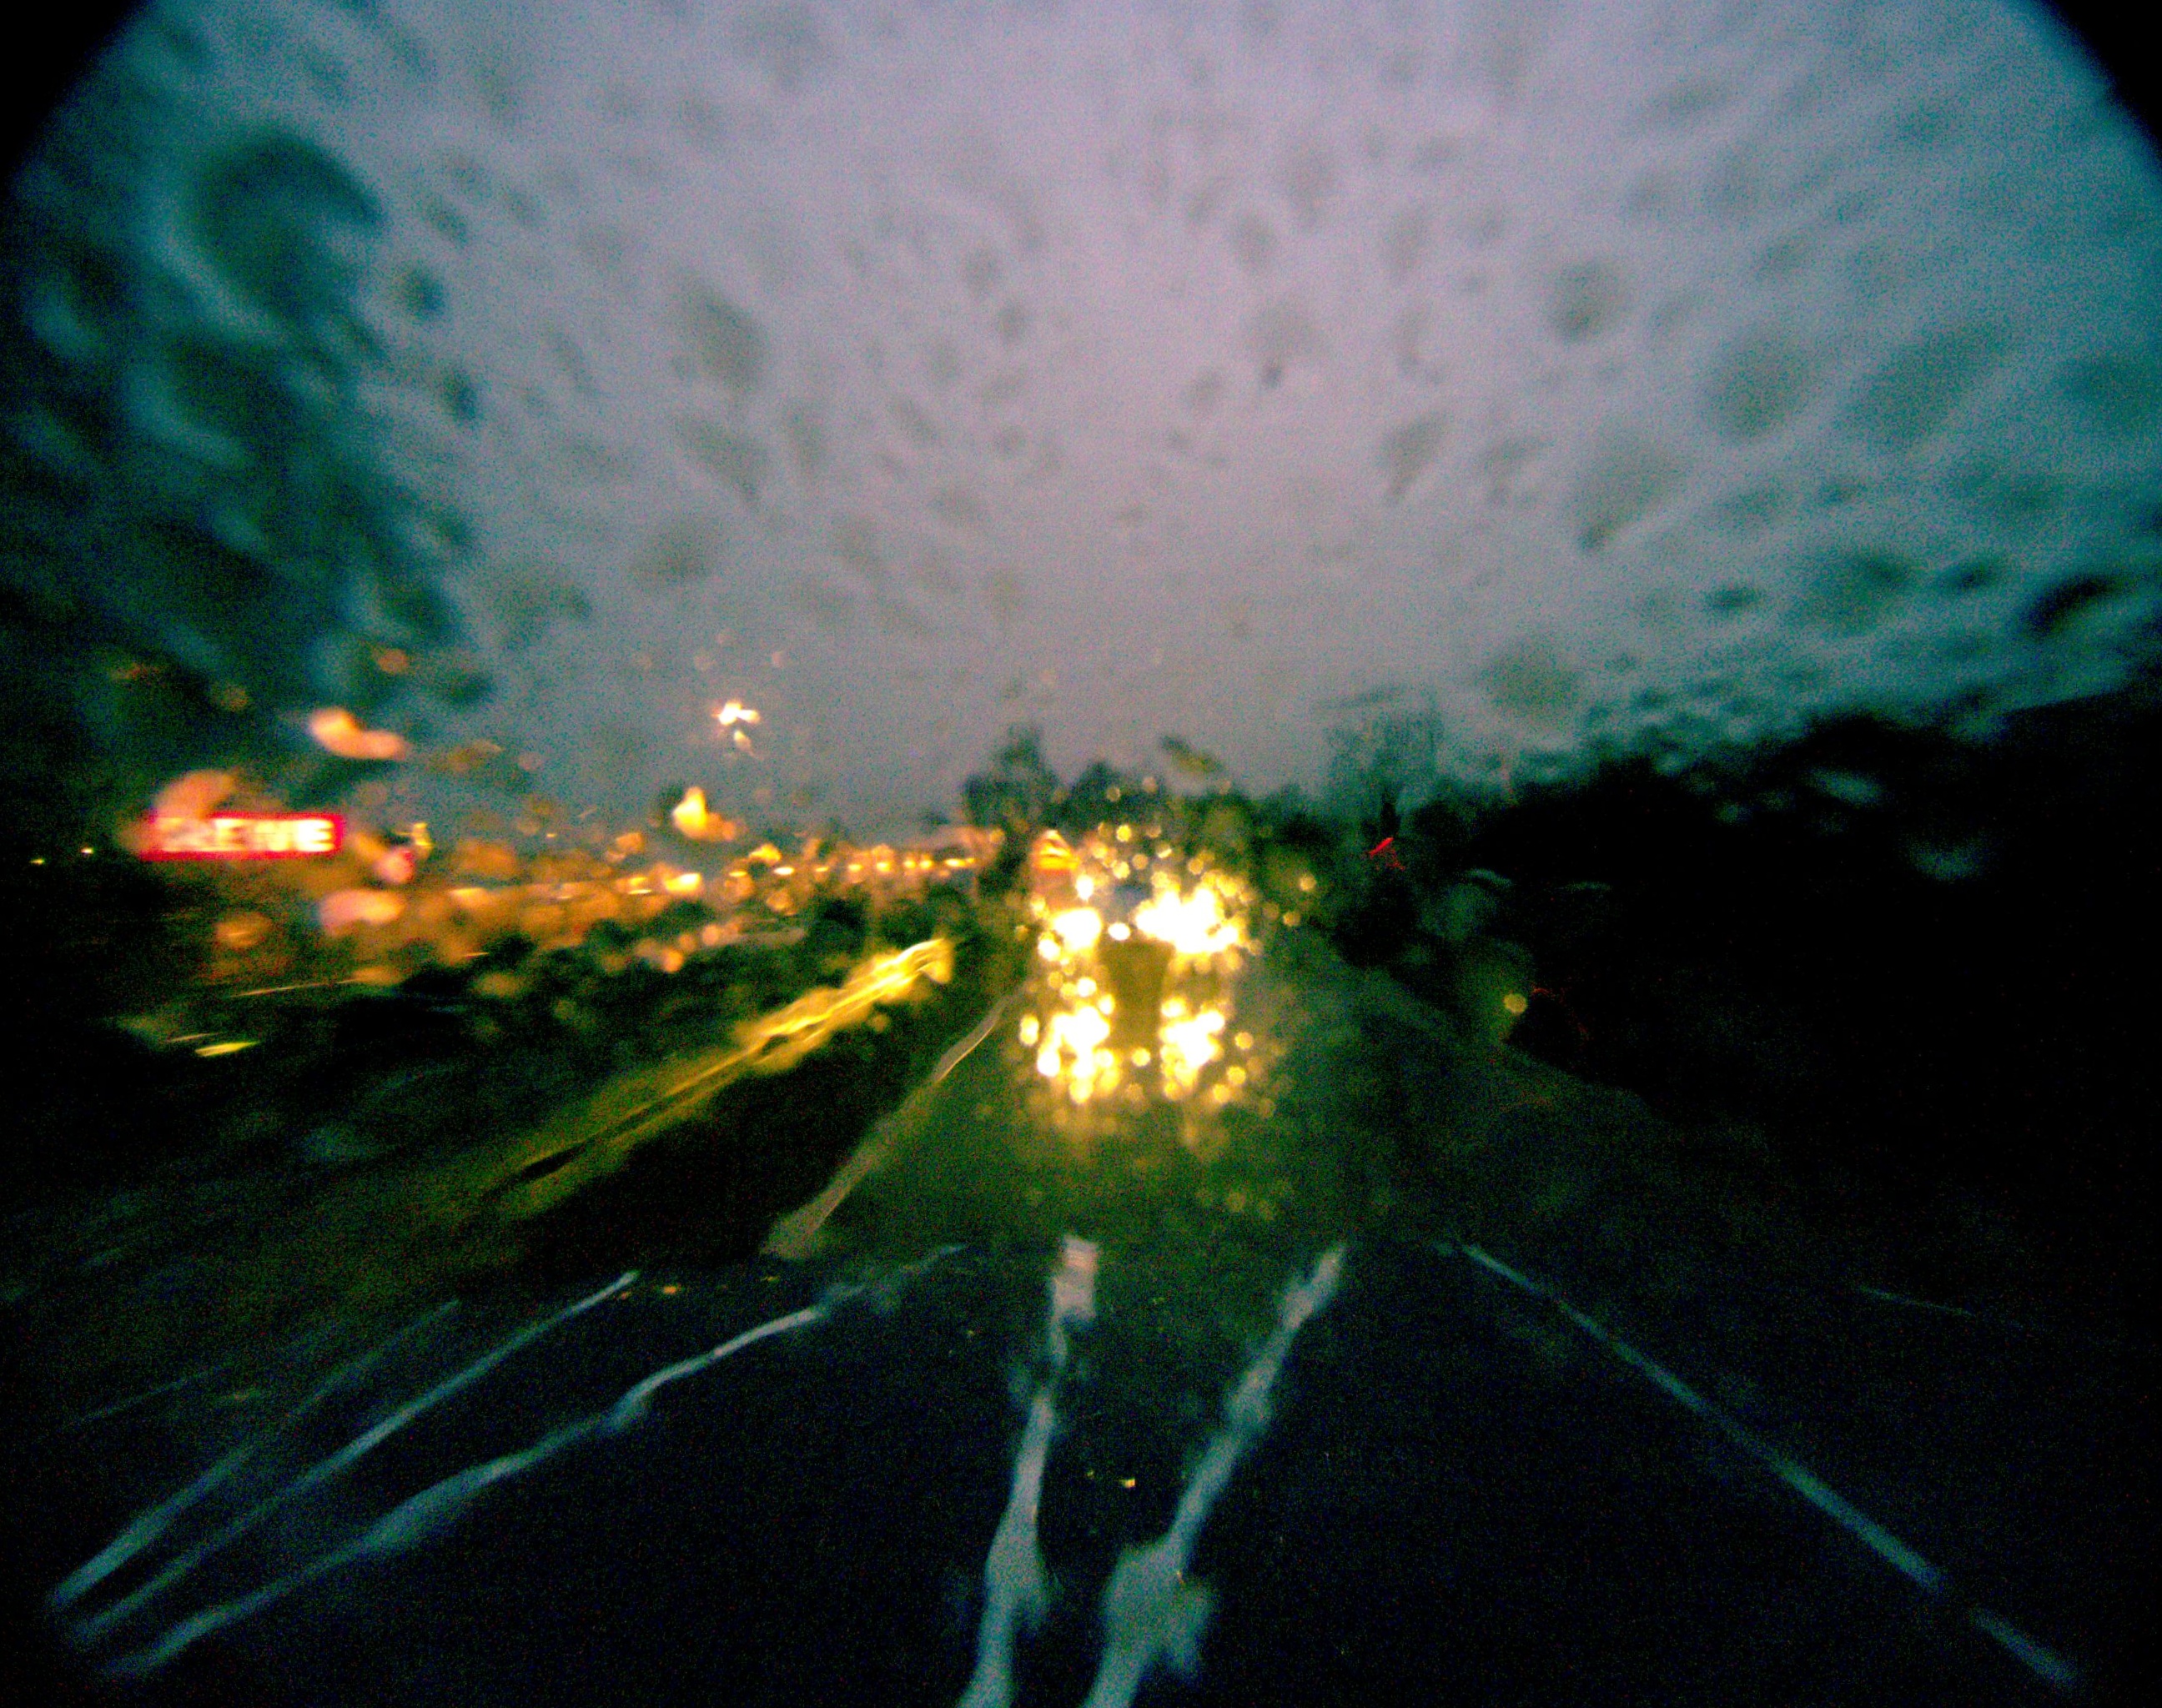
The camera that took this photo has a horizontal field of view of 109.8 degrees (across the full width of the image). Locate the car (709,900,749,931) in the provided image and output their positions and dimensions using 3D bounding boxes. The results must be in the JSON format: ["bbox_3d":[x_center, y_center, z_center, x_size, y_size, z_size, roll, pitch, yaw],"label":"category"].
[{"bbox_3d":[-20.375,3.503,43.850,1.730,1.493,4.017,-2,0,-29],"label":"car"}]

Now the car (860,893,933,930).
[{"bbox_3d":[-9.044,2.815,37.596,1.770,1.421,3.815,-2,1,16],"label":"car"}]

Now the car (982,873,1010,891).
[{"bbox_3d":[-7.798,2.569,69.466,1.716,1.404,4.007,-2,1,-18],"label":"car"}]

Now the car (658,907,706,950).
[{"bbox_3d":[-18.523,3.382,35.308,1.808,1.526,4.534,-3,0,-27],"label":"car"}]

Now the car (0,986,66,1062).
[{"bbox_3d":[-24.517,3.907,16.140,1.748,1.416,4.307,-3,0,-27],"label":"car"}]

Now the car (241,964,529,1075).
[{"bbox_3d":[-13.860,3.249,15.491,4.005,1.412,1.628,-3,1,-29],"label":"car"}]

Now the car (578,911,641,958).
[{"bbox_3d":[-19.930,3.363,32.238,1.601,1.576,3.626,-3,0,-22],"label":"car"}]

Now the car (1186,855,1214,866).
[{"bbox_3d":[17.701,0.968,112.776,4.007,1.588,1.808,-2,1,12],"label":"car"}]

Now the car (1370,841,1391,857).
[{"bbox_3d":[33.070,-0.582,83.936,1.696,1.569,3.888,-2,1,16],"label":"car"}]

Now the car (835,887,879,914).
[{"bbox_3d":[-14.583,2.991,49.332,1.723,1.508,3.250,-4,1,-35],"label":"car"}]

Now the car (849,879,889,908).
[{"bbox_3d":[-16.066,2.914,57.334,1.890,1.946,4.950,-4,0,-27],"label":"car"}]

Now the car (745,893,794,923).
[{"bbox_3d":[-19.442,3.323,47.269,1.804,1.586,3.970,-3,0,-37],"label":"car"}]

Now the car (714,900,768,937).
[{"bbox_3d":[-17.575,3.246,39.171,1.829,1.629,4.460,-3,-1,-33],"label":"car"}]

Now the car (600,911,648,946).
[{"bbox_3d":[-22.455,3.609,37.459,1.601,1.339,3.625,-3,0,-25],"label":"car"}]

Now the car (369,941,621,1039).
[{"bbox_3d":[-13.909,3.183,18.460,4.594,1.447,1.926,-3,1,-32],"label":"car"}]

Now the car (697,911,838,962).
[{"bbox_3d":[-11.715,3.044,28.636,4.709,1.388,1.901,-2,1,-23],"label":"car"}]

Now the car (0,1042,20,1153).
[{"bbox_3d":[-16.100,3.392,8.793,4.005,1.431,1.793,-3,1,-29],"label":"car"}]

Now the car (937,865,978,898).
[{"bbox_3d":[-10.354,2.222,63.187,2.283,2.426,5.230,-2,1,-21],"label":"car"}]

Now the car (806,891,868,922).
[{"bbox_3d":[-14.472,3.103,45.071,3.261,1.526,1.389,-4,0,-24],"label":"car"}]

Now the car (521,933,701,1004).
[{"bbox_3d":[-13.416,3.238,22.016,4.185,1.388,1.900,-2,1,-25],"label":"car"}]

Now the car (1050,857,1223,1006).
[{"bbox_3d":[0.799,0.873,10.525,1.809,1.452,4.247,-4,0,5],"label":"car"}]

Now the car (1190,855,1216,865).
[{"bbox_3d":[19.052,0.923,118.545,4.007,1.523,1.716,-2,1,12],"label":"car"}]

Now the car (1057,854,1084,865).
[{"bbox_3d":[-1.731,0.942,123.133,4.006,1.588,1.808,-2,1,16],"label":"car"}]

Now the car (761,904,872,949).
[{"bbox_3d":[-10.999,2.969,31.559,4.184,1.388,1.848,-2,1,-23],"label":"car"}]

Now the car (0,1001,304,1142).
[{"bbox_3d":[-15.296,3.401,11.898,4.005,1.412,1.628,-3,1,-29],"label":"car"}]
